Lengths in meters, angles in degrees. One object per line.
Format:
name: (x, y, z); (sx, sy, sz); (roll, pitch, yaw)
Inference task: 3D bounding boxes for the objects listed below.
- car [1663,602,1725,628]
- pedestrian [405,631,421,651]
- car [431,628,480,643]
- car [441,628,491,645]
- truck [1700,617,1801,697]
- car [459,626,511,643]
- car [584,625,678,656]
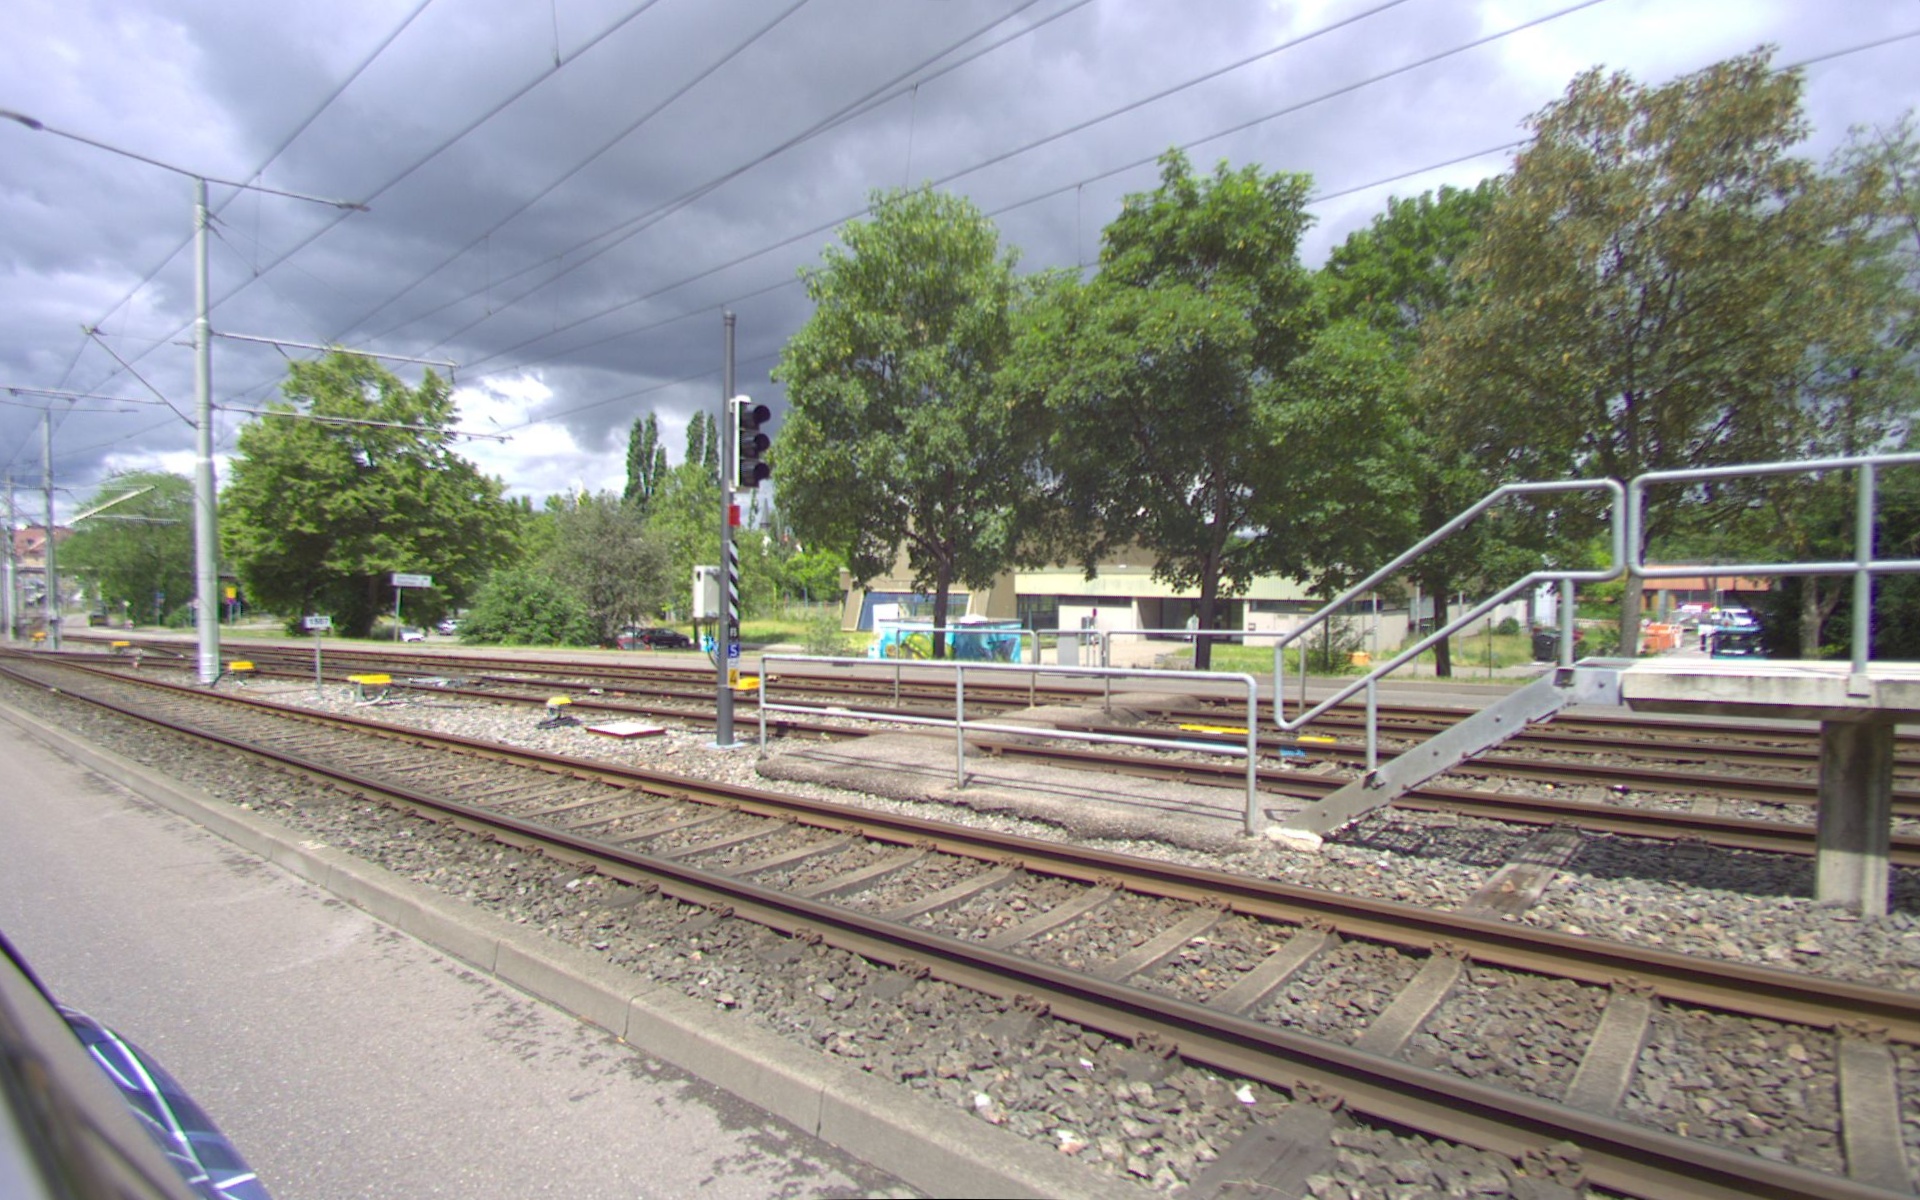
car: (60.654, 1.236, 83.659); (3.999, 2.029, 1.973); (-1, 0, 42)
pedestrian: (-40.572, 3.040, 75.050); (0.678, 1.508, 0.817); (0, -2, 17)
car: (-47.737, 3.381, 95.801); (1.627, 1.431, 3.817); (-1, -3, 43)
car: (-45.533, 3.332, 93.371); (1.627, 1.546, 3.817); (-2, -3, 43)
truck: (31.429, 2.185, 40.148); (2.679, 2.877, 6.532); (-1, -3, 42)
car: (-42.483, 3.093, 90.568); (1.627, 1.546, 3.817); (-2, -3, 43)
car: (-15.550, 1.885, 47.963); (3.871, 1.420, 1.764); (1, -2, -37)
